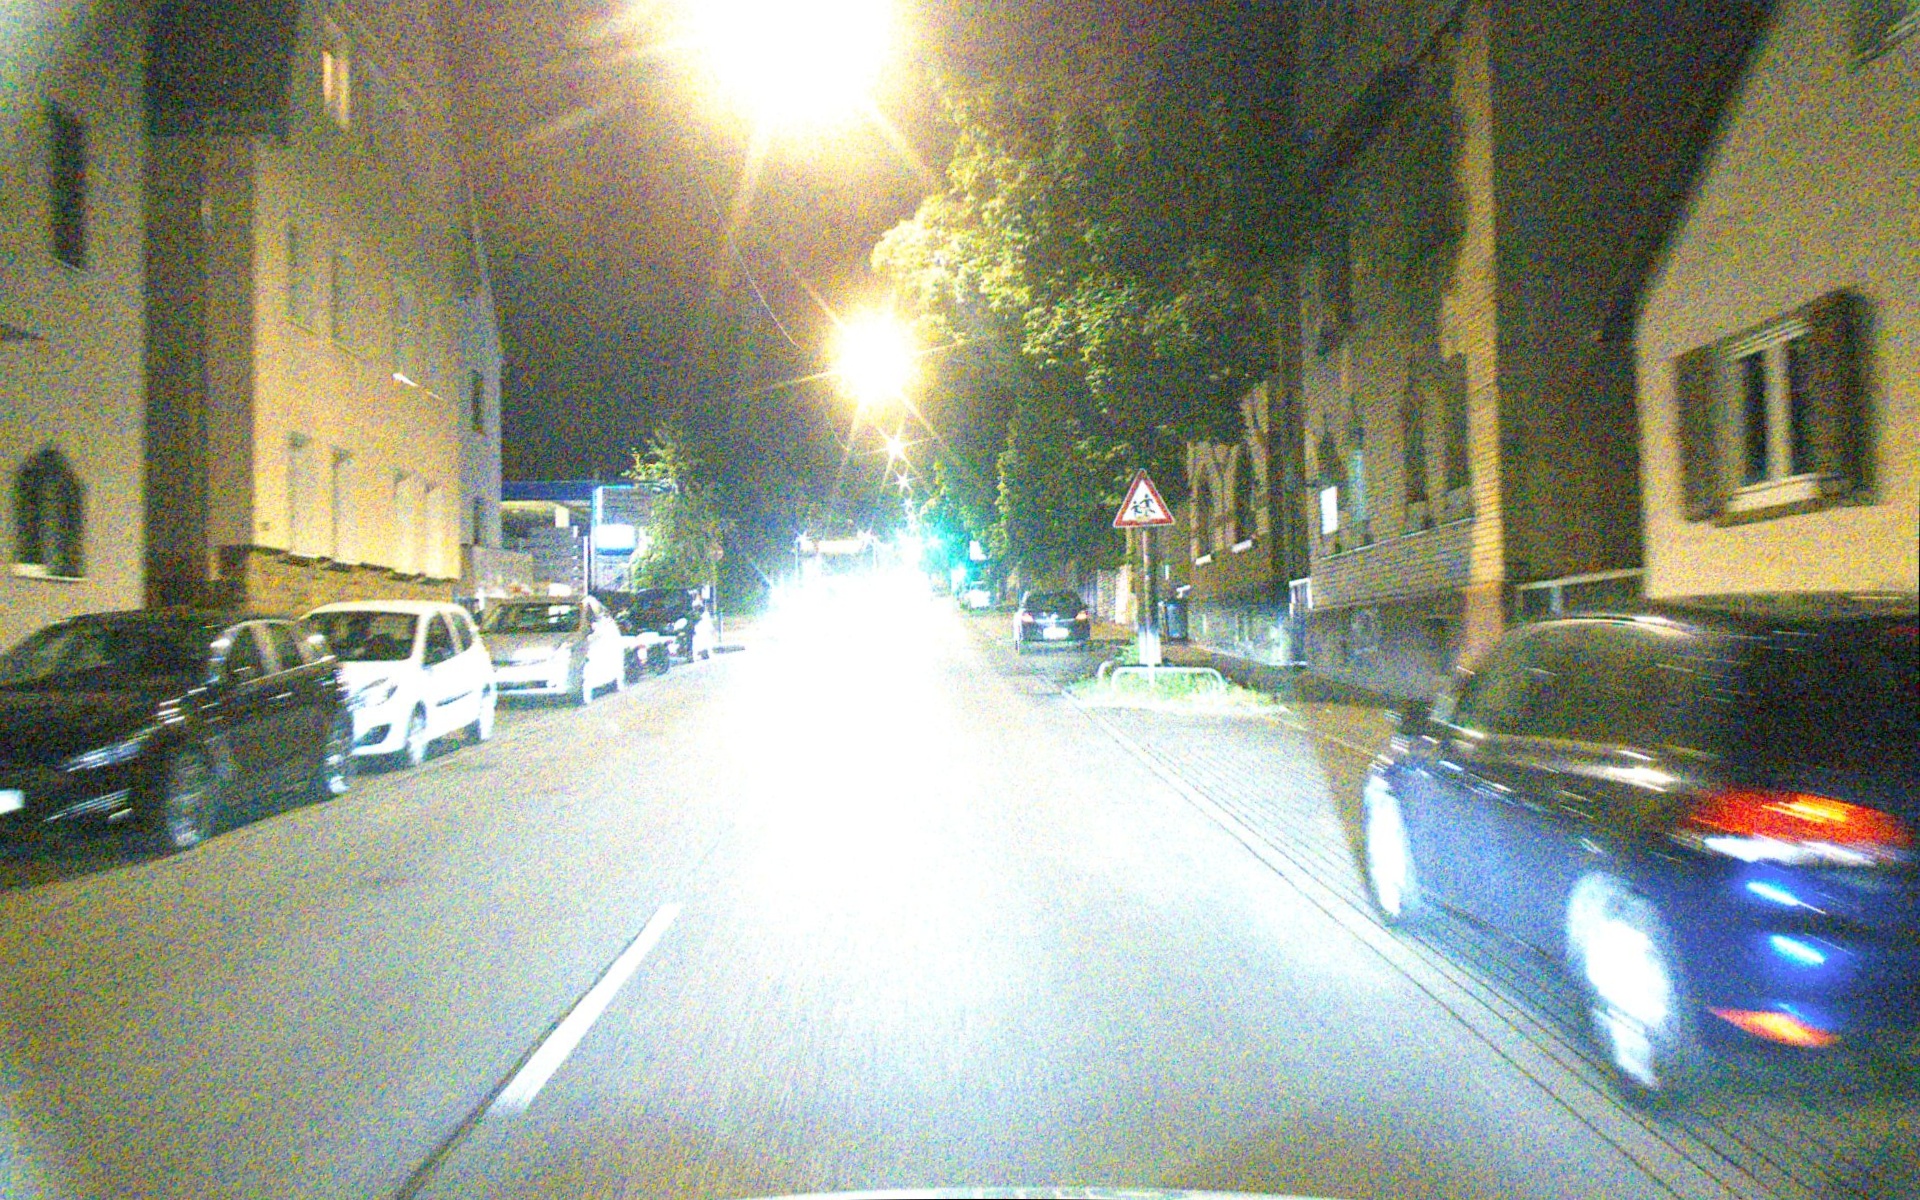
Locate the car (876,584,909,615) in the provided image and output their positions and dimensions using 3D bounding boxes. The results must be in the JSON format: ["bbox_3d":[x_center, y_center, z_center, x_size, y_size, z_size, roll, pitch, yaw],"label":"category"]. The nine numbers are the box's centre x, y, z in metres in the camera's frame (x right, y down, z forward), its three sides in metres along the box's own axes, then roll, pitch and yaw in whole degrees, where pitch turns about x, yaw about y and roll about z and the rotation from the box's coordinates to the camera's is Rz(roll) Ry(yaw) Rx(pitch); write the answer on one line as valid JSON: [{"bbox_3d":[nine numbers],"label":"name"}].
[{"bbox_3d":[-3.453,-0.049,84.678,1.612,1.447,3.869,-3,1,-2],"label":"car"}]

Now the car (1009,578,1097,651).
[{"bbox_3d":[2.146,0.303,39.205,1.727,1.501,4.080,-3,1,-1],"label":"car"}]

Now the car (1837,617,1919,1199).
[{"bbox_3d":[2.788,0.683,1.040,1.808,1.441,4.643,-5,0,-2],"label":"car"}]

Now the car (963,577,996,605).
[{"bbox_3d":[1.165,-0.543,101.482,1.831,1.553,4.149,-3,1,-1],"label":"car"}]

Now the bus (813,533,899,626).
[{"bbox_3d":[-3.782,-0.788,61.835,2.780,3.233,7.660,-1,1,-1],"label":"bus"}]

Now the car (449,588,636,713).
[{"bbox_3d":[-5.885,0.647,23.787,1.670,1.517,4.226,-3,1,-2],"label":"car"}]

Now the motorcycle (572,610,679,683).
[{"bbox_3d":[-5.705,0.772,28.130,0.710,1.167,2.173,-3,1,-43],"label":"motorcycle"}]

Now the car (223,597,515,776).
[{"bbox_3d":[-5.599,0.753,16.150,1.589,1.518,3.779,-1,0,-2],"label":"car"}]

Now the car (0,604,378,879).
[{"bbox_3d":[-5.598,0.803,11.327,1.826,1.518,4.278,-1,0,-2],"label":"car"}]

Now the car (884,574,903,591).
[{"bbox_3d":[-7.230,-1.863,179.284,1.905,1.747,3.999,-1,0,-1],"label":"car"}]

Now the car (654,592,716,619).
[{"bbox_3d":[-16.142,0.326,96.969,3.196,1.478,1.790,-1,0,31],"label":"car"}]

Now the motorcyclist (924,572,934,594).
[{"bbox_3d":[-2.566,-1.416,137.286,0.831,1.782,0.805,-1,0,-1],"label":"motorcyclist"}]

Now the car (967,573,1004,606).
[{"bbox_3d":[1.324,-0.570,88.014,1.775,1.621,4.273,-3,1,-1],"label":"car"}]

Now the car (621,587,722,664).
[{"bbox_3d":[-6.133,0.531,35.387,1.605,1.524,2.765,-2,0,0],"label":"car"}]

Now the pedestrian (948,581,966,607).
[{"bbox_3d":[-0.201,-0.377,111.207,0.917,1.729,0.757,1,1,-37],"label":"pedestrian"}]

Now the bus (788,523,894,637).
[{"bbox_3d":[-3.634,-0.647,52.729,2.780,3.233,10.496,-1,1,-1],"label":"bus"}]

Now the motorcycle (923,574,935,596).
[{"bbox_3d":[-2.561,-1.249,137.284,0.912,1.782,2.624,-1,0,-1],"label":"motorcycle"}]

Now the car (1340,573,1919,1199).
[{"bbox_3d":[2.782,0.672,5.989,1.735,1.473,4.018,-2,0,-2],"label":"car"}]

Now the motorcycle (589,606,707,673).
[{"bbox_3d":[-5.695,0.725,30.149,2.162,1.150,0.714,-2,1,32],"label":"motorcycle"}]
